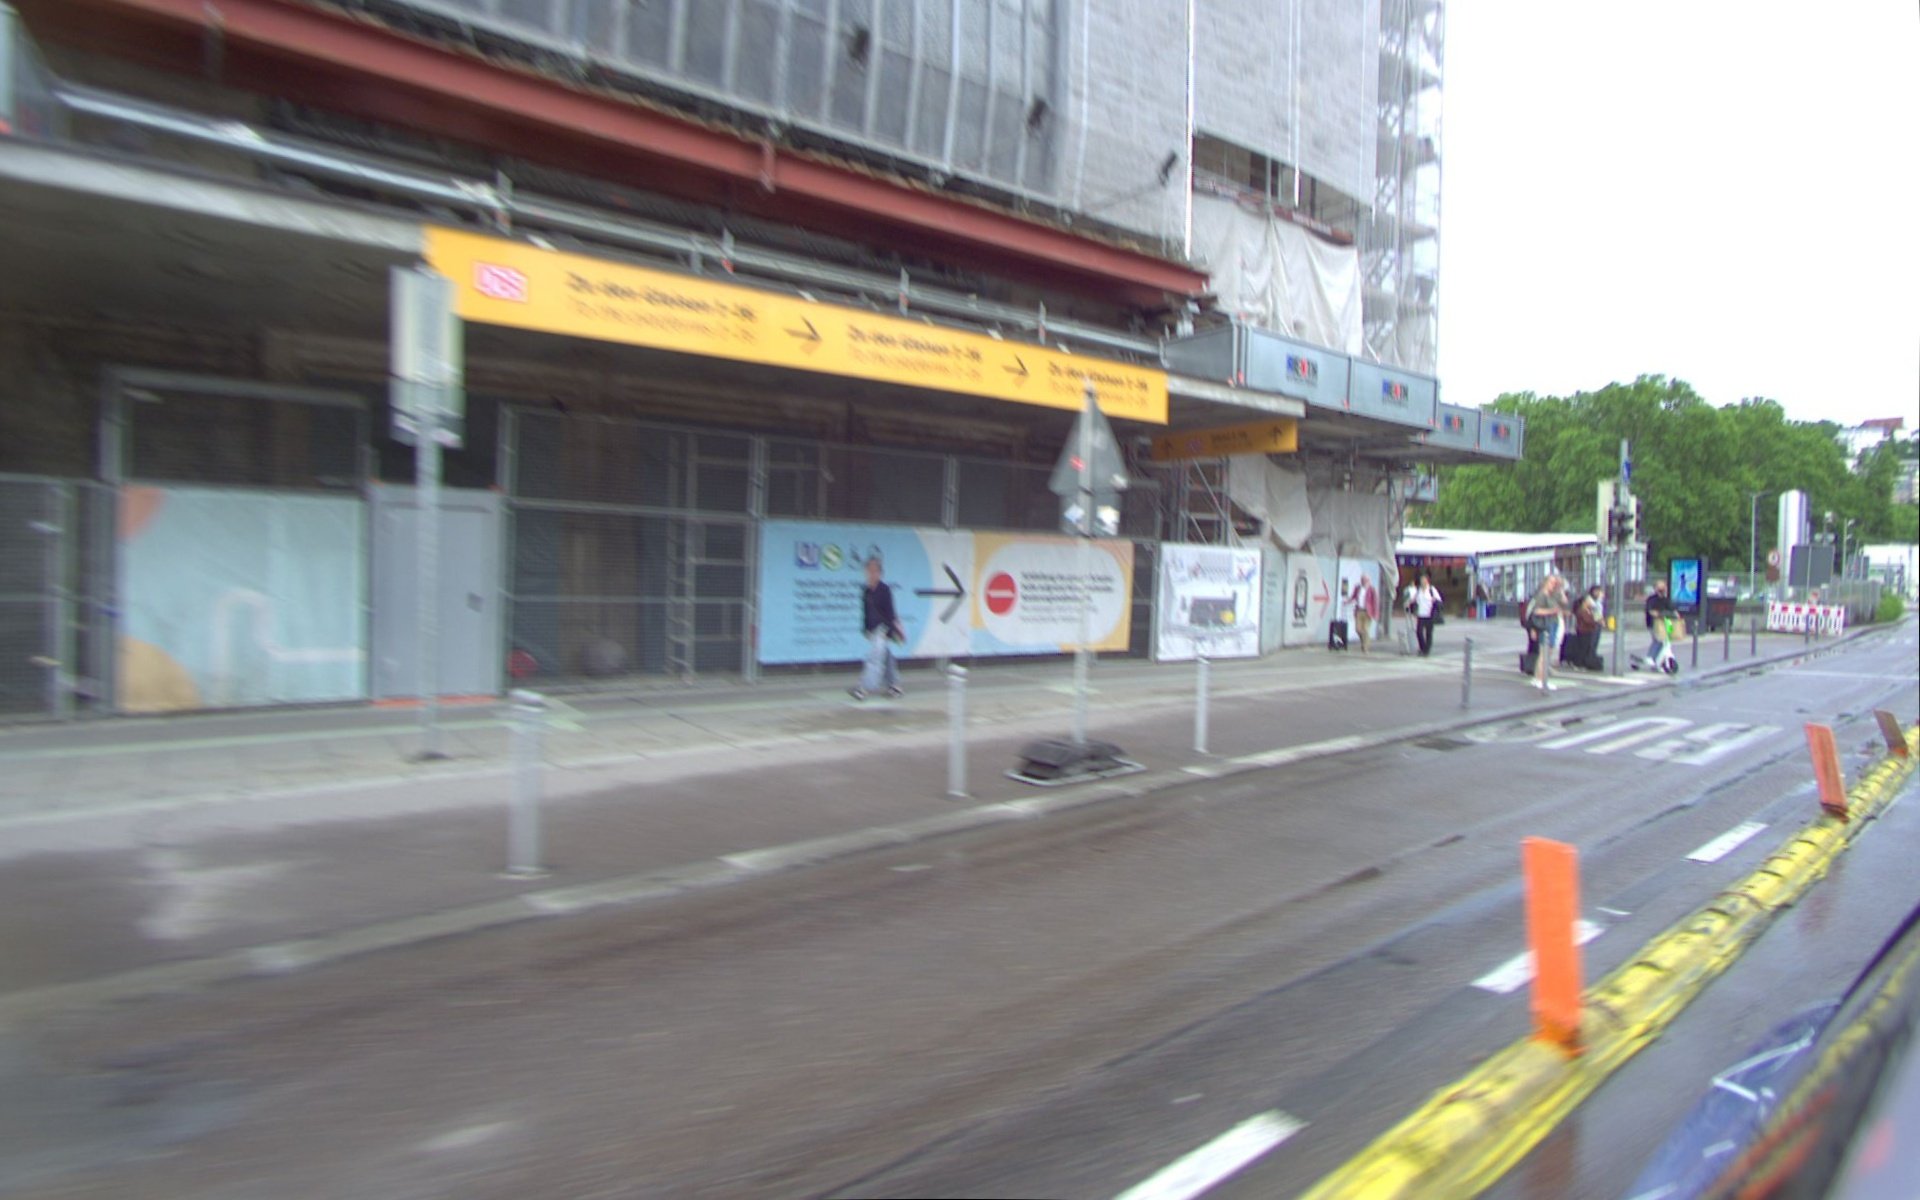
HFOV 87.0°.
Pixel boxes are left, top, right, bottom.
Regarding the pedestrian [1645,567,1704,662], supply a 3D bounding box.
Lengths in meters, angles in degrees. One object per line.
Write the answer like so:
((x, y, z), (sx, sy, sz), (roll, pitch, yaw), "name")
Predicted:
((13.572, 0.256, 19.253), (0.572, 1.762, 0.820), (1, 1, 9), "pedestrian")

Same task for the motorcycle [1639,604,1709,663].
((13.569, 0.618, 19.273), (0.576, 1.034, 1.237), (1, 1, 9), "motorcycle")

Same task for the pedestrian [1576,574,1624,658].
((13.195, 0.317, 20.882), (0.603, 1.670, 0.560), (0, 4, -37), "pedestrian")

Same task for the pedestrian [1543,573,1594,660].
((12.054, 0.313, 20.063), (0.602, 1.670, 0.566), (1, 4, -34), "pedestrian")

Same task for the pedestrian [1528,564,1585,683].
((9.315, 0.350, 15.802), (0.557, 1.780, 0.742), (5, 4, 38), "pedestrian")

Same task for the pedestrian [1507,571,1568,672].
((9.879, 0.358, 17.319), (0.738, 1.660, 0.560), (0, 4, -37), "pedestrian")

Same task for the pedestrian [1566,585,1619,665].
((12.104, 0.470, 19.362), (0.698, 1.466, 0.560), (0, 4, -37), "pedestrian")

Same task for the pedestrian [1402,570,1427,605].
((24.003, -0.651, 53.460), (0.757, 1.816, 0.950), (0, 2, -41), "pedestrian")

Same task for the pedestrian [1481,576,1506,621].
((24.554, -0.068, 46.593), (0.804, 2.039, 0.753), (-1, 0, 44), "pedestrian")

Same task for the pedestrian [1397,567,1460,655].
((9.511, 0.203, 20.535), (0.940, 1.697, 0.738), (0, 4, -39), "pedestrian")

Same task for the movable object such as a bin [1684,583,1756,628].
((26.862, 0.190, 35.799), (1.502, 1.510, 1.306), (1, 2, -10), "movable object such as a bin")

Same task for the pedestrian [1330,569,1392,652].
((8.460, 0.205, 21.350), (1.089, 1.703, 0.735), (0, 1, -36), "pedestrian")

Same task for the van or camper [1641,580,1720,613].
((58.360, -0.349, 82.152), (2.344, 2.431, 6.057), (2, 1, 5), "van or camper")

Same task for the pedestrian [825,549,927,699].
((-0.972, 0.257, 11.748), (0.977, 1.652, 0.551), (0, 4, -38), "pedestrian")

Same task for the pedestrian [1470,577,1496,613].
((23.723, -0.217, 45.927), (0.854, 1.613, 0.698), (-1, 0, 44), "pedestrian")

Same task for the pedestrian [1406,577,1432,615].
((20.834, -0.176, 45.953), (0.900, 1.666, 0.700), (1, 2, 13), "pedestrian")

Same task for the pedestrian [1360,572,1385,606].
((22.253, -0.601, 54.623), (0.757, 1.816, 0.950), (0, 2, -41), "pedestrian")

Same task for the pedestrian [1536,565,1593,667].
((10.891, 0.279, 18.225), (0.698, 1.773, 0.560), (0, 4, -37), "pedestrian")
